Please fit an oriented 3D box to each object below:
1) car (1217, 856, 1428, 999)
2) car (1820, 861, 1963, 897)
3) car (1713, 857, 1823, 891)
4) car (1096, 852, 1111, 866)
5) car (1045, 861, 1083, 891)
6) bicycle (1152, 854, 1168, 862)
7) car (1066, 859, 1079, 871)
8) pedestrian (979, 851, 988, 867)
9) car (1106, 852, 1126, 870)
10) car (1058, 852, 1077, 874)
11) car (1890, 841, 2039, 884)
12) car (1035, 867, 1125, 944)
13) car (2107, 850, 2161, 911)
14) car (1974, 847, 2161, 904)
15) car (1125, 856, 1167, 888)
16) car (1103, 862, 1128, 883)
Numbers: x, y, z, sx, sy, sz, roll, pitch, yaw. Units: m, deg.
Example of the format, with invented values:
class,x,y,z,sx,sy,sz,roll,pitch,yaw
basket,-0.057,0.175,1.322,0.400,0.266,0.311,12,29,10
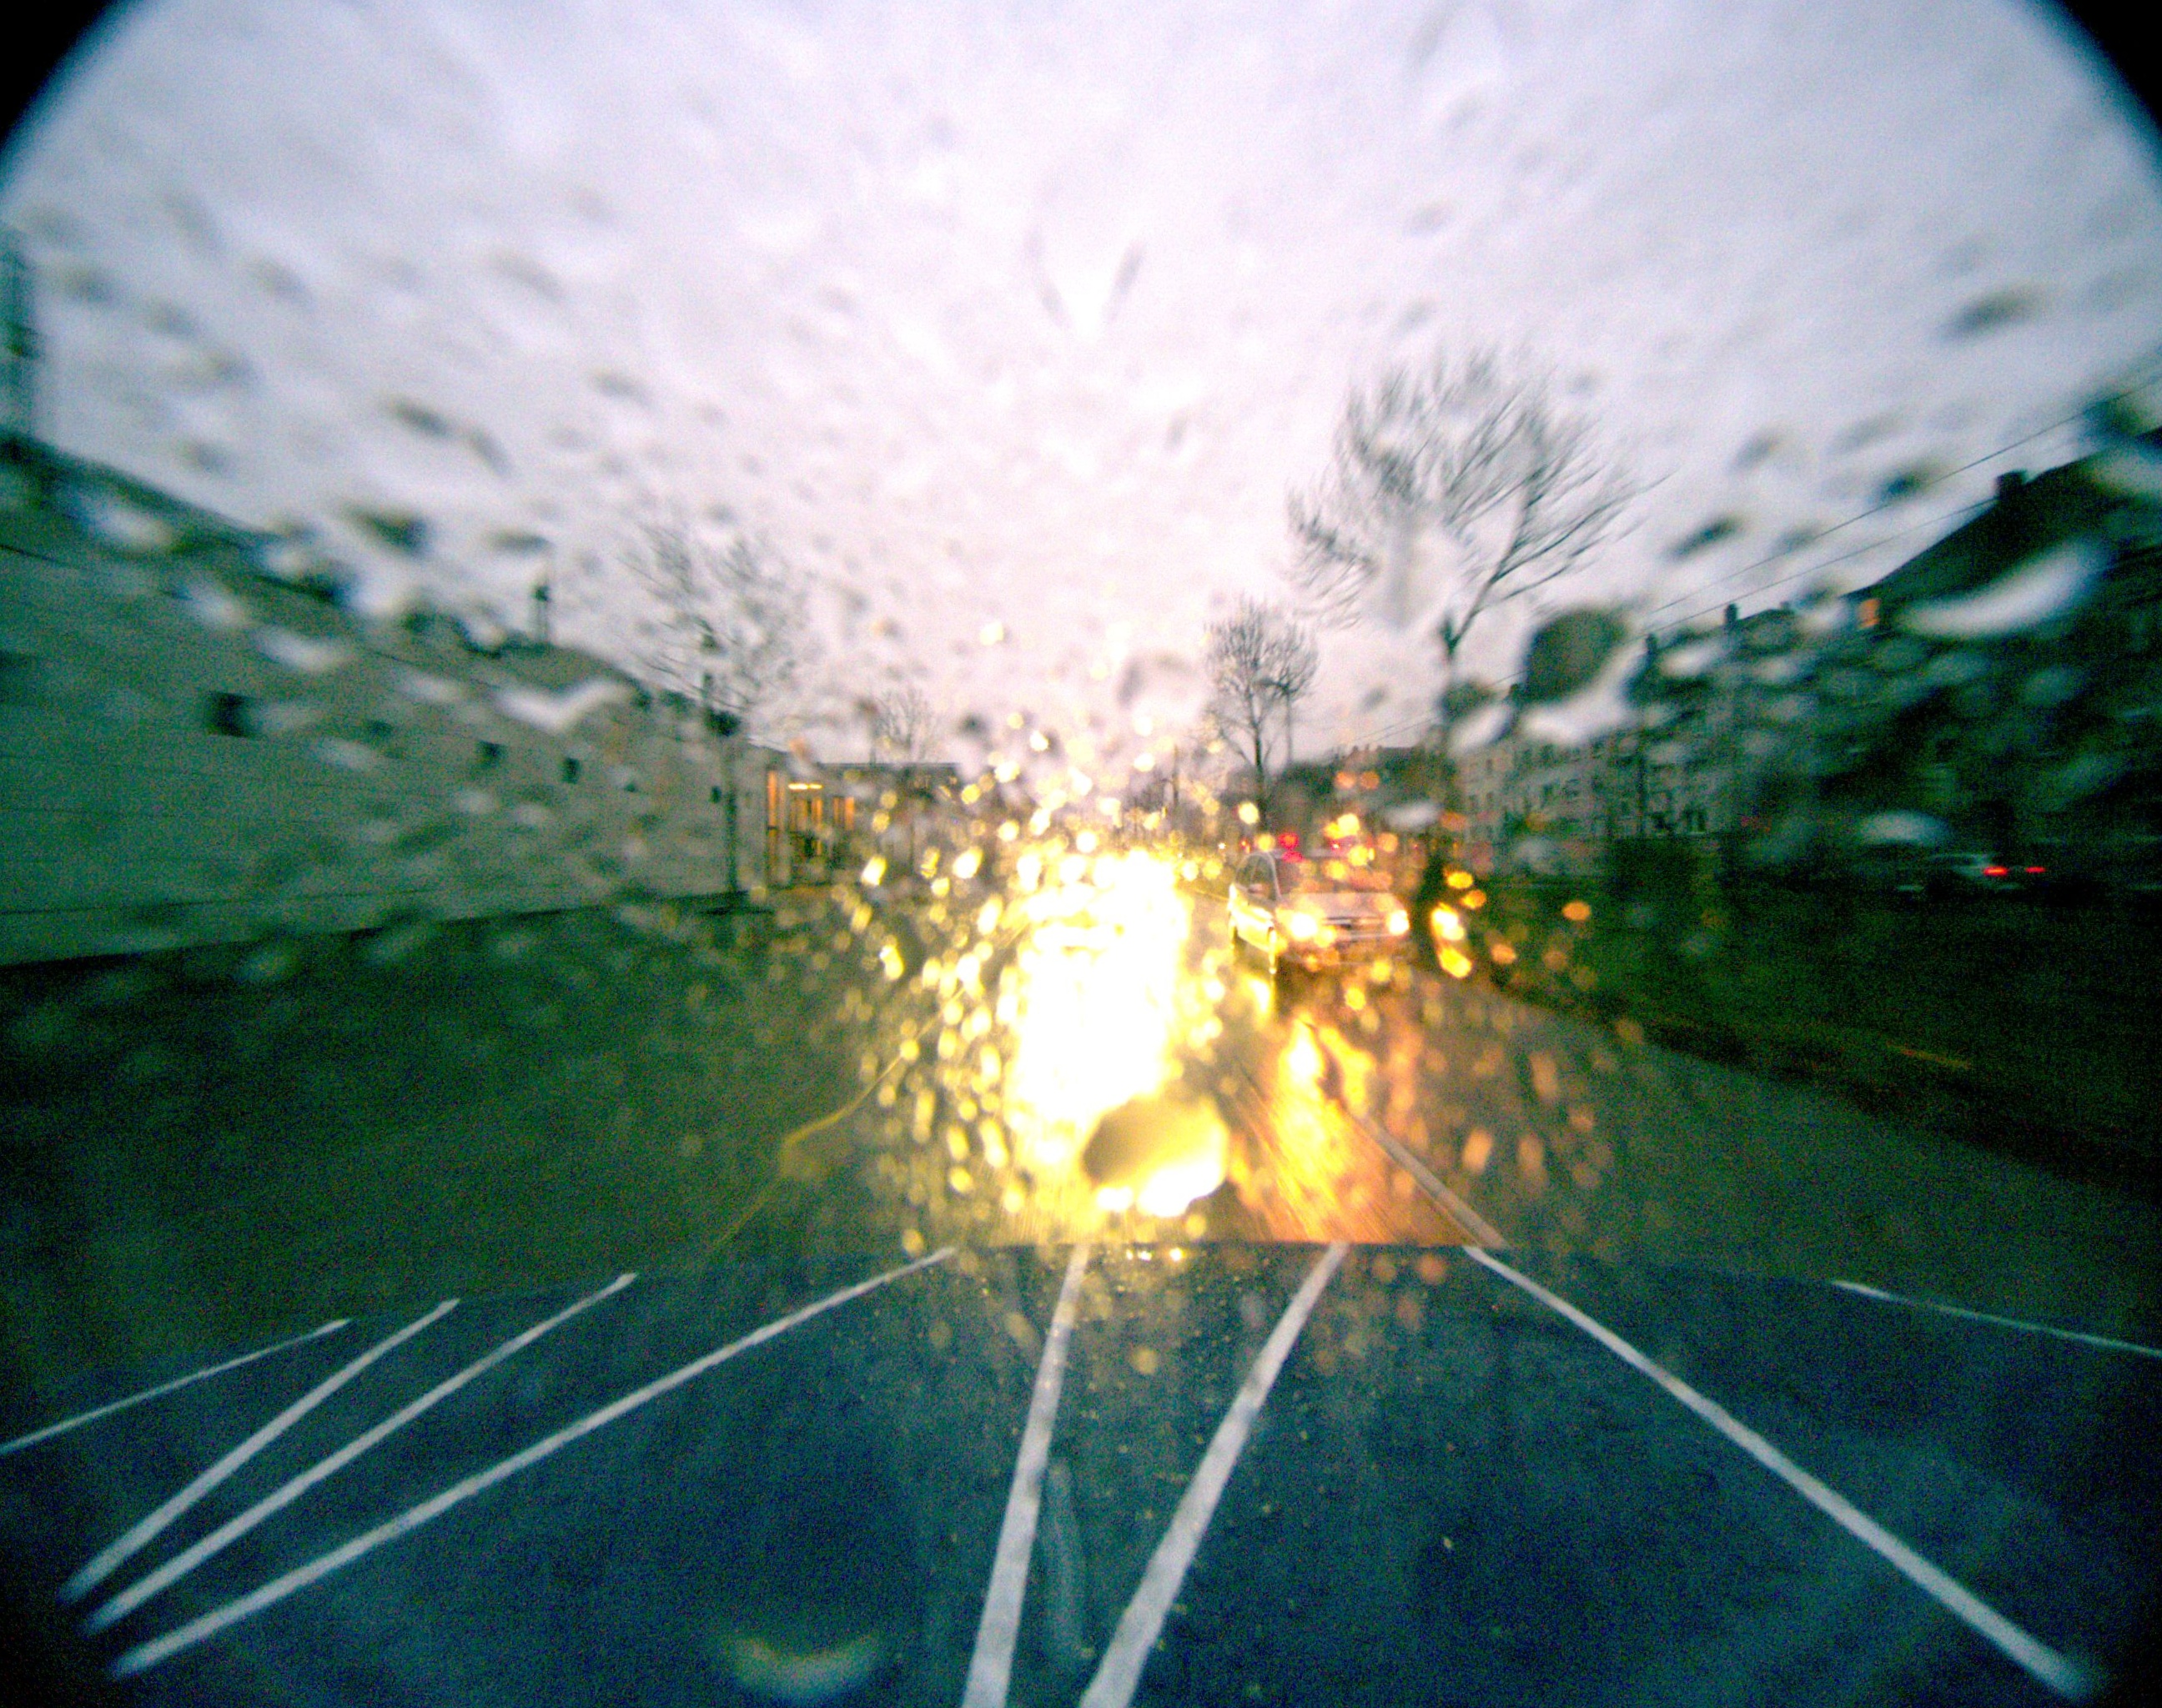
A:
class,x,y,z,sx,sy,sz,roll,pitch,yaw
car,3.047,0.826,10.443,1.638,1.510,3.907,-2,0,0
car,30.078,0.889,28.378,1.233,1.162,3.900,-2,0,1
car,30.475,0.858,33.871,1.468,1.332,3.910,-2,0,3
car,2.723,0.600,92.036,1.686,1.669,3.468,-2,0,1
car,-0.783,1.046,37.877,1.737,1.311,3.803,-2,0,0
bicycle,9.326,0.418,89.858,1.725,0.893,0.733,1,1,1
car,-1.240,1.598,111.822,1.787,1.689,3.639,-2,0,1
pedestrian,-10.079,0.553,78.707,0.814,1.621,0.883,1,1,0
car,3.401,0.656,74.272,1.802,1.674,3.805,-2,0,0
car,-1.304,0.828,74.777,1.671,2.002,3.775,-2,0,0
car,34.409,0.297,29.734,1.684,1.542,3.538,-2,0,1
car,-0.010,1.028,16.510,1.669,1.325,3.787,-2,0,0
car,28.301,0.594,17.866,4.651,1.423,1.697,-2,1,37
car,28.303,0.602,21.326,3.940,1.440,1.823,-2,0,41
car,3.289,0.871,39.104,1.905,1.475,3.655,-2,0,2
car,2.396,1.266,53.628,1.538,1.347,3.546,-2,0,0
